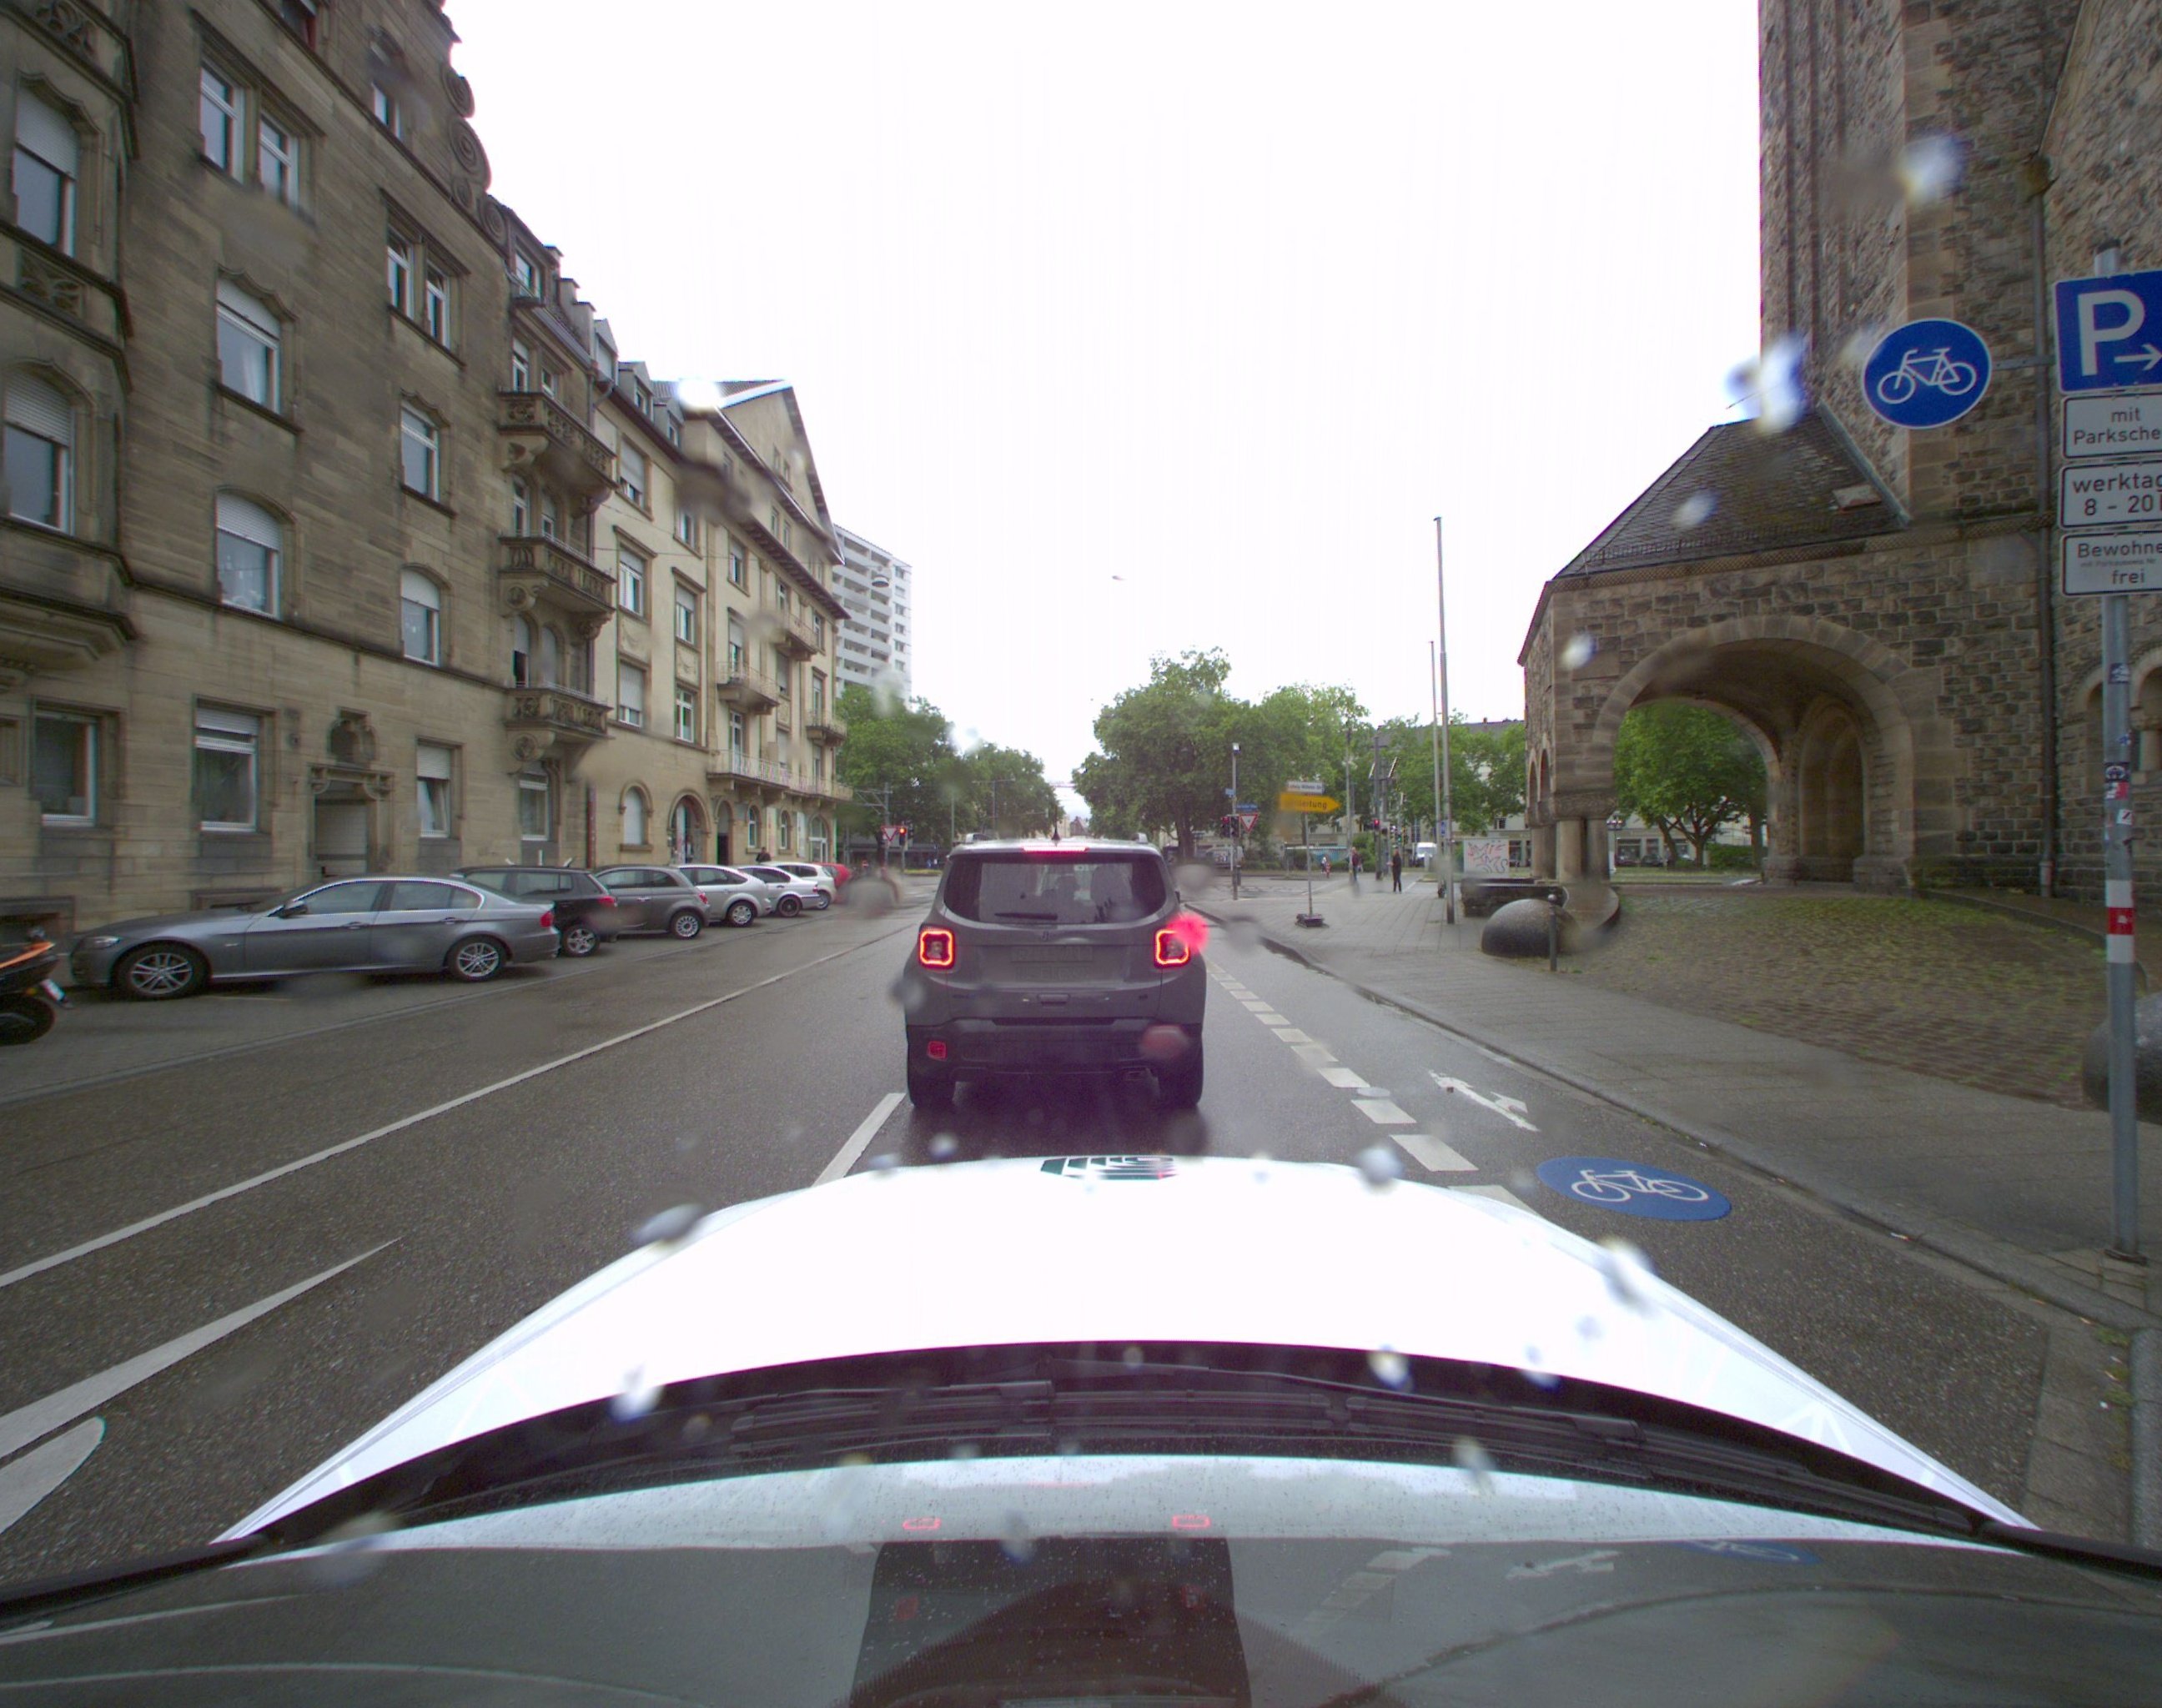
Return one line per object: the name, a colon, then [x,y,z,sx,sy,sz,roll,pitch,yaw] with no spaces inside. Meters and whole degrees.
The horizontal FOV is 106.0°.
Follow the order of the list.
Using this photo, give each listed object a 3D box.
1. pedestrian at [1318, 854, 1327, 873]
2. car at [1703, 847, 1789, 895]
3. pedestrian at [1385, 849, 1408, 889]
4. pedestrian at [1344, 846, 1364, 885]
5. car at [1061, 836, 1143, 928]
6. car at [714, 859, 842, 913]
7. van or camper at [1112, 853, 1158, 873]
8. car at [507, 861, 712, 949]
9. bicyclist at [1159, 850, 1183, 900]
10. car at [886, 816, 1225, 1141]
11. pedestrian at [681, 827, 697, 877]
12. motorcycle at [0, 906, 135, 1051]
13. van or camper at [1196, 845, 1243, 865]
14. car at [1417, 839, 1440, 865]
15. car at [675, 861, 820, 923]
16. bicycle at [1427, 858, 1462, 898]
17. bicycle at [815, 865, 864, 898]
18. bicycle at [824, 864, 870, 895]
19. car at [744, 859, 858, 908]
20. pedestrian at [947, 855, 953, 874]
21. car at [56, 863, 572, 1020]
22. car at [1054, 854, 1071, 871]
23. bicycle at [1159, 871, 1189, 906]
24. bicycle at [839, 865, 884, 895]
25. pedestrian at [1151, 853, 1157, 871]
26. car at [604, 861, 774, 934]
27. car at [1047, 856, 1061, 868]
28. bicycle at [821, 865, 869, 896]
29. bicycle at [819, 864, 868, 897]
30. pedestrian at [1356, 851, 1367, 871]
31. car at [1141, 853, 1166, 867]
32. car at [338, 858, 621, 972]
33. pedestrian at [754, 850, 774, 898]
pedestrian: [19.677,0.776,66.442,0.607,1.603,0.497,-1,-1,26]
car: [21.506,0.520,26.444,1.389,1.479,3.239,-1,0,25]
pedestrian: [13.106,0.626,33.809,0.775,1.645,0.659,-2,-1,25]
pedestrian: [12.751,0.535,38.056,0.780,1.759,0.949,-2,-1,16]
car: [0.514,0.622,19.977,1.764,2.013,4.001,-1,0,1]
car: [-9.507,0.949,25.631,3.419,1.558,1.686,-1,0,-38]
van or camper: [8.210,1.386,124.762,6.466,2.912,2.509,-1,0,26]
car: [-9.535,0.952,16.556,3.419,1.558,1.634,-1,0,-38]
bicyclist: [3.010,0.701,27.291,0.684,1.617,0.884,-2,0,0]
car: [-0.113,0.671,6.294,1.769,1.687,3.848,-2,0,1]
pedestrian: [-14.430,-0.086,29.973,0.365,1.823,0.347,-2,-1,-1]
motorcycle: [-9.405,1.038,6.766,1.880,1.162,0.627,2,-2,-36]
van or camper: [16.044,0.129,94.621,5.234,2.315,2.093,0,0,5]
car: [35.510,-0.214,83.203,1.889,2.555,4.815,-1,0,25]
car: [-9.281,1.007,22.766,3.419,1.558,1.686,-1,0,-38]
bicycle: [10.984,0.703,24.655,0.327,1.154,2.079,-1,0,7]
bicycle: [-9.591,1.082,32.336,1.758,1.266,0.522,-1,-1,-1]
bicycle: [-9.920,1.079,34.604,1.758,1.266,0.608,-1,-1,-1]
car: [-9.764,0.986,28.506,3.419,1.558,1.686,-1,0,-38]
pedestrian: [-12.961,1.005,80.569,0.618,1.826,0.692,-1,-1,-8]
car: [-9.408,0.928,10.542,4.573,1.545,1.668,-1,0,-42]
car: [-1.926,0.899,84.936,1.717,1.739,3.726,-1,0,-2]
bicycle: [3.065,1.130,27.131,0.689,1.021,2.658,-2,0,1]
bicycle: [-9.565,1.120,35.475,1.758,1.266,0.608,-1,-1,-1]
pedestrian: [8.295,0.888,92.523,0.646,2.014,0.484,-1,-1,14]
car: [-9.387,0.976,19.583,3.419,1.558,1.686,-1,0,-38]
car: [-3.768,1.065,113.563,1.810,1.670,3.916,-1,0,-3]
bicycle: [-9.704,1.088,33.570,1.804,1.266,0.498,-1,-1,-1]
bicycle: [-9.594,1.076,32.884,1.804,1.266,0.498,-1,-1,-1]
pedestrian: [22.820,0.573,66.246,0.667,1.554,0.766,-1,-2,29]
car: [10.651,0.851,119.330,3.411,2.014,1.554,-2,-1,15]
car: [-9.777,0.896,13.472,3.571,1.598,1.587,-1,0,-38]
pedestrian: [-13.406,0.830,34.420,0.565,2.014,0.655,-1,0,1]
